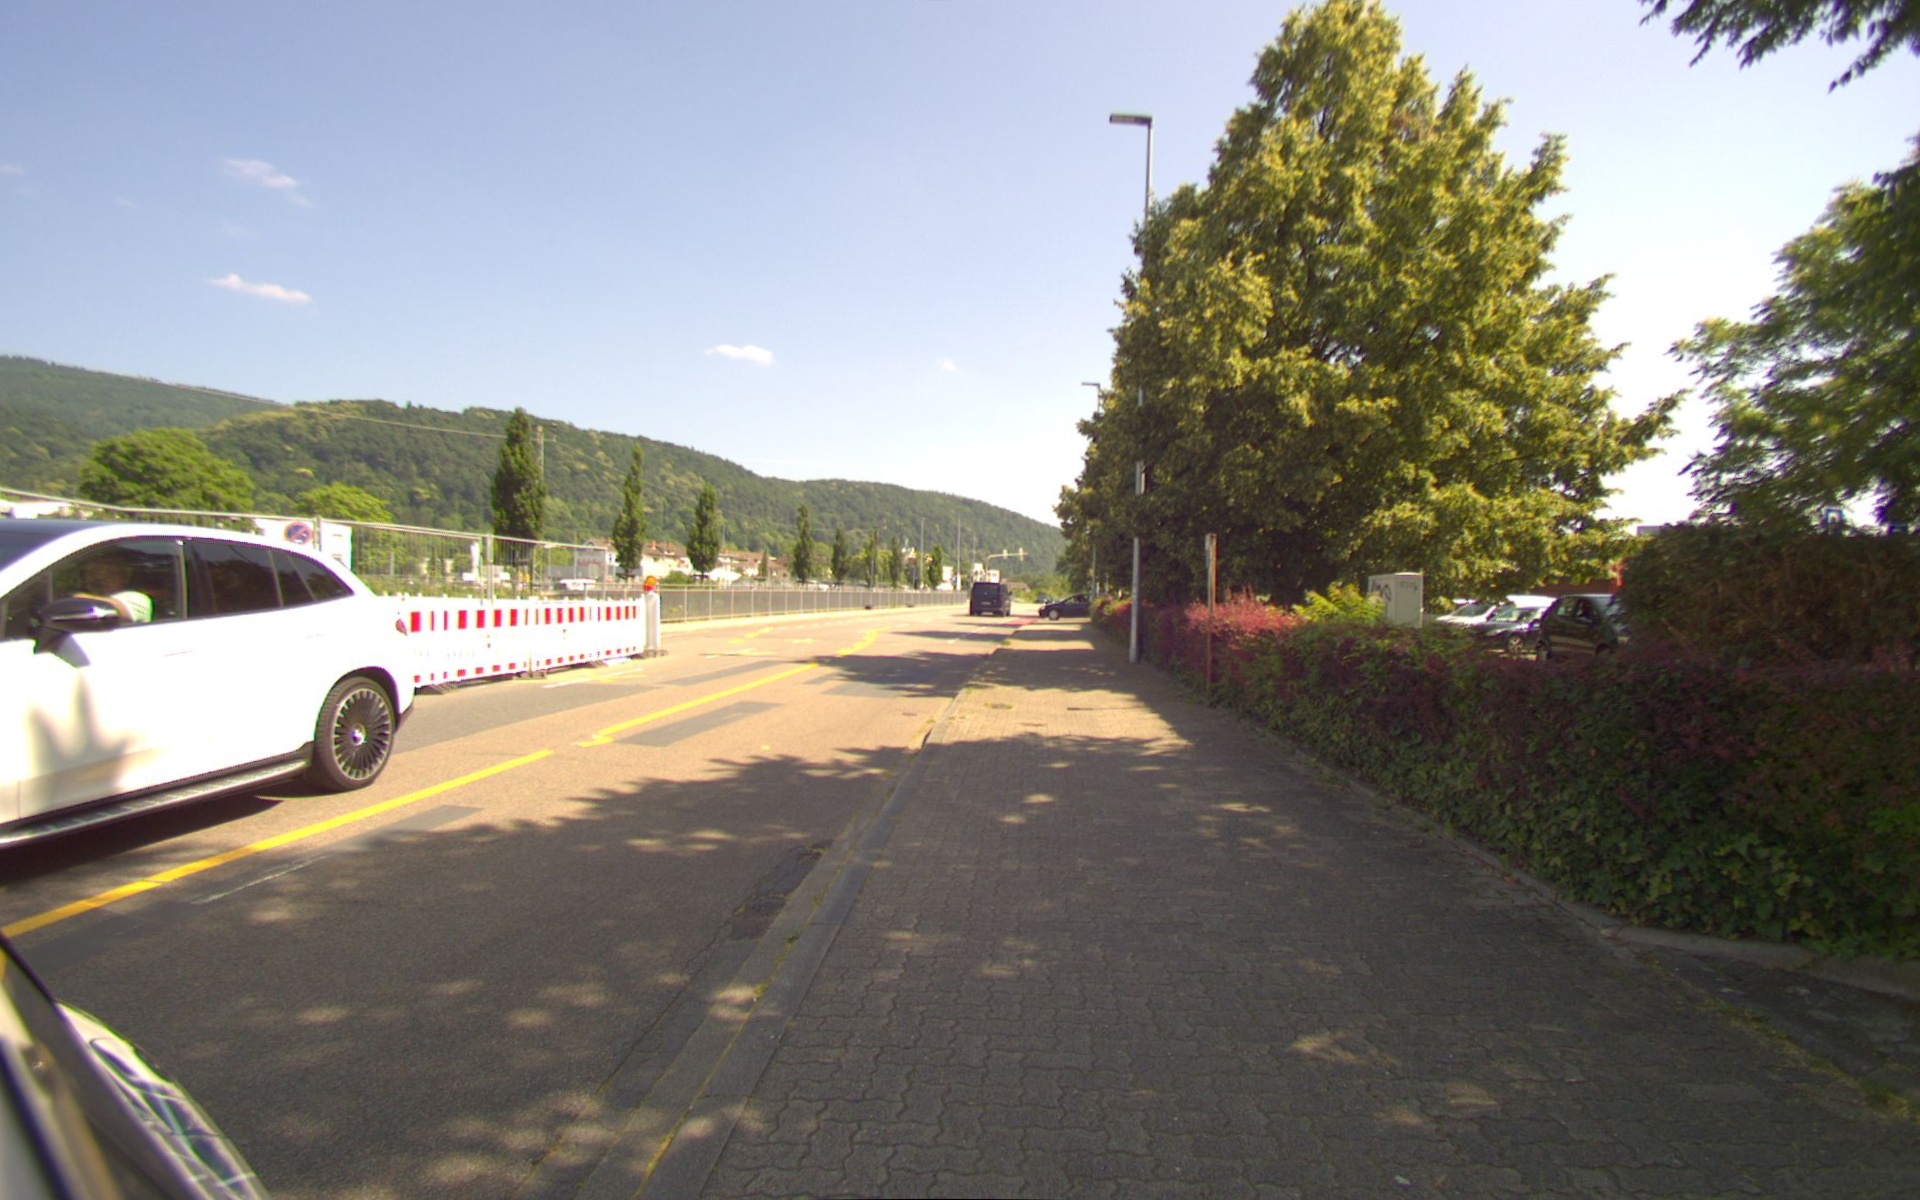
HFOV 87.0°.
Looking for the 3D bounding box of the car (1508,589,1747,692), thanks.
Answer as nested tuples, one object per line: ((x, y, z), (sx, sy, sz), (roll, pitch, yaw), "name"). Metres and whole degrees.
((12.770, 0.694, 19.768), (1.838, 1.698, 4.363), (3, 0, 3), "car")

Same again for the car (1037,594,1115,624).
((6.039, 0.441, 52.513), (3.956, 1.475, 1.875), (-1, 0, 10), "car")

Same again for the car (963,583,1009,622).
((1.558, 0.090, 58.306), (2.157, 1.982, 5.435), (4, 1, 6), "car")

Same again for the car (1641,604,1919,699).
((15.215, 0.867, 19.104), (1.838, 1.463, 4.363), (3, 0, 3), "car")

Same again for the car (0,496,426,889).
((-4.990, 0.371, 4.851), (1.974, 1.657, 5.026), (1, 0, 3), "car")
